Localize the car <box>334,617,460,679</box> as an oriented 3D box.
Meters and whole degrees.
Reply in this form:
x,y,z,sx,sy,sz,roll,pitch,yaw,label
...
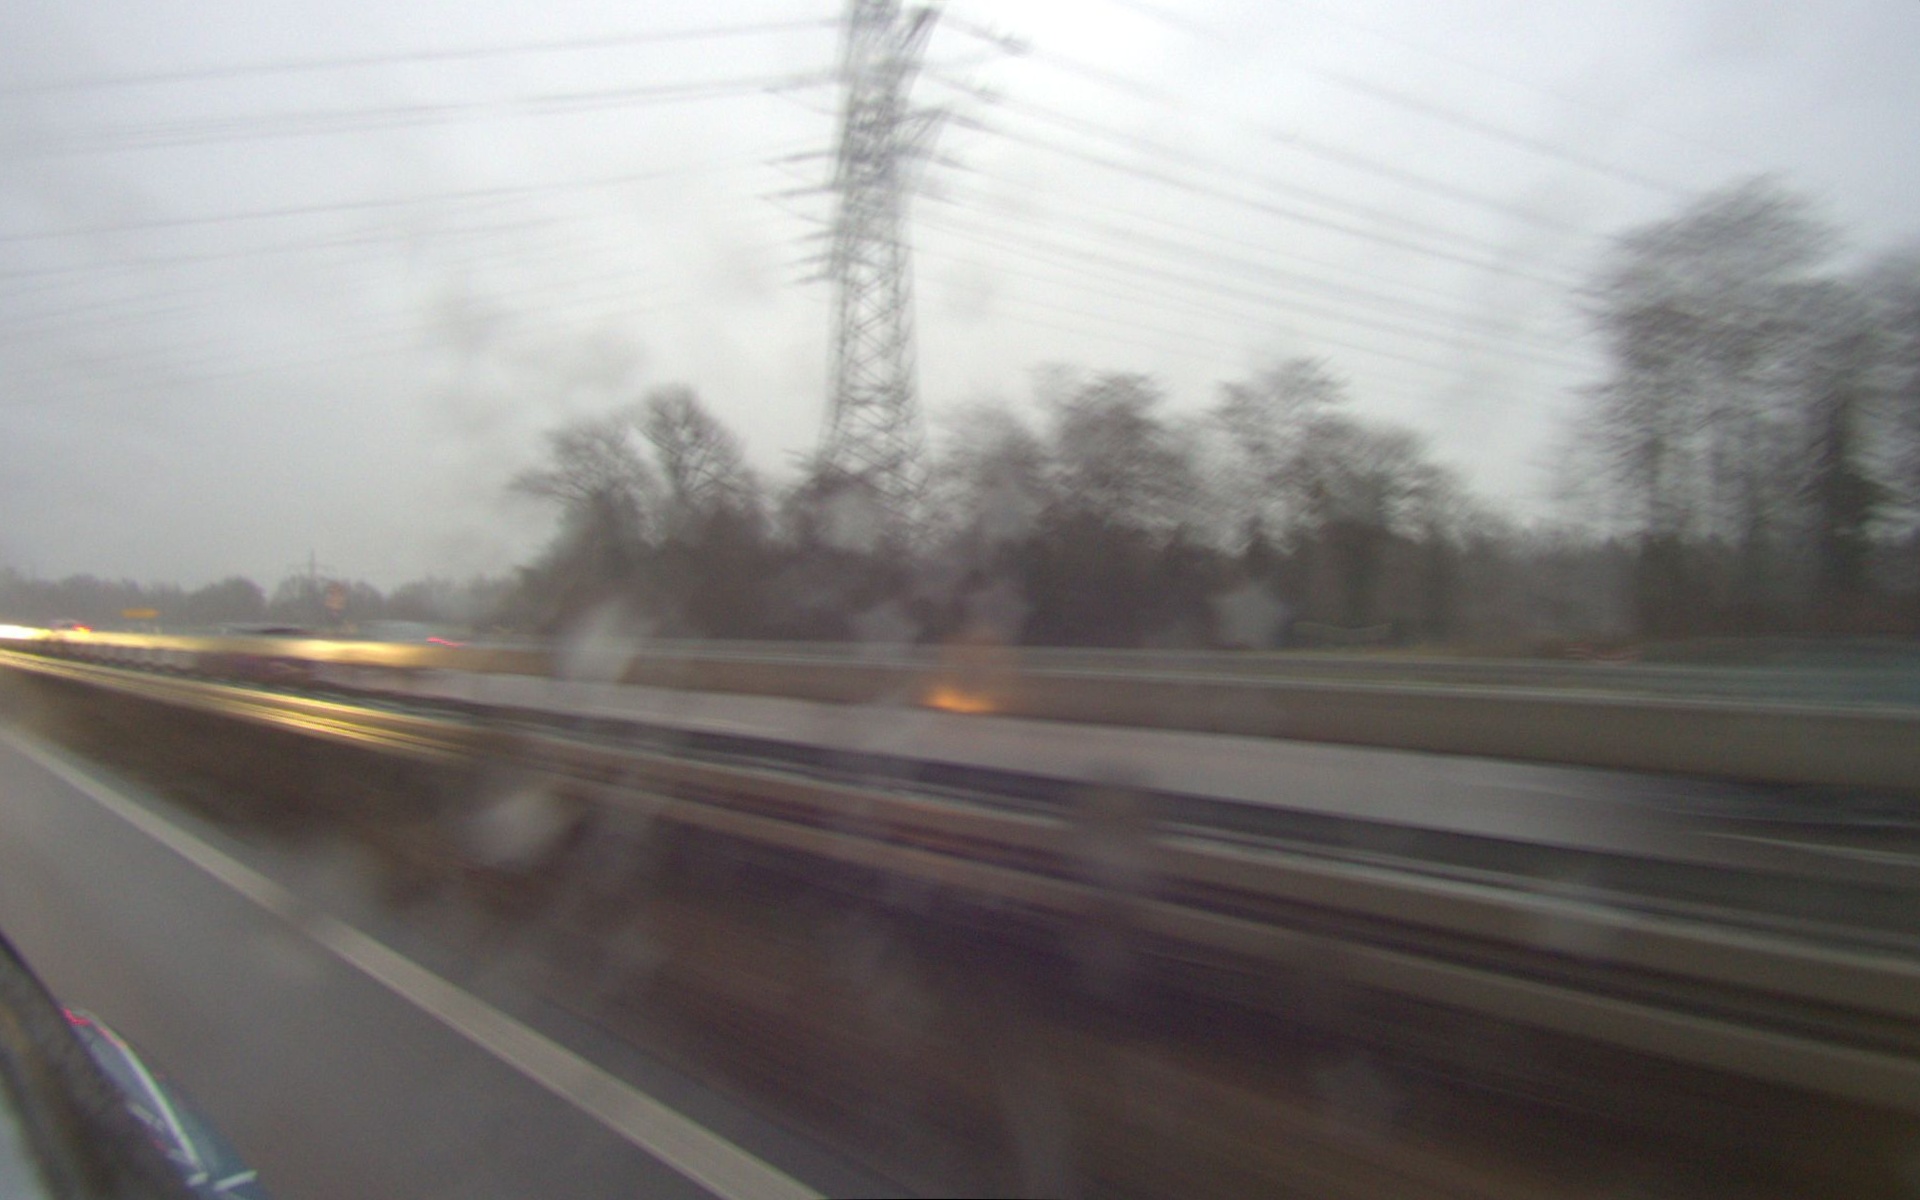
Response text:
x,y,z,sx,sy,sz,roll,pitch,yaw,label
-15.856,1.284,28.438,4.000,1.593,1.972,0,0,43,car

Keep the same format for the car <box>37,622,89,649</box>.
x,y,z,sx,sy,sz,roll,pitch,yaw,label
-55.619,2.198,62.715,4.750,1.583,1.778,-1,-1,41,car

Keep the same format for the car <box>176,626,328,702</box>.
x,y,z,sx,sy,sz,roll,pitch,yaw,label
-16.043,1.405,22.849,4.407,1.517,1.680,-1,-7,41,car
